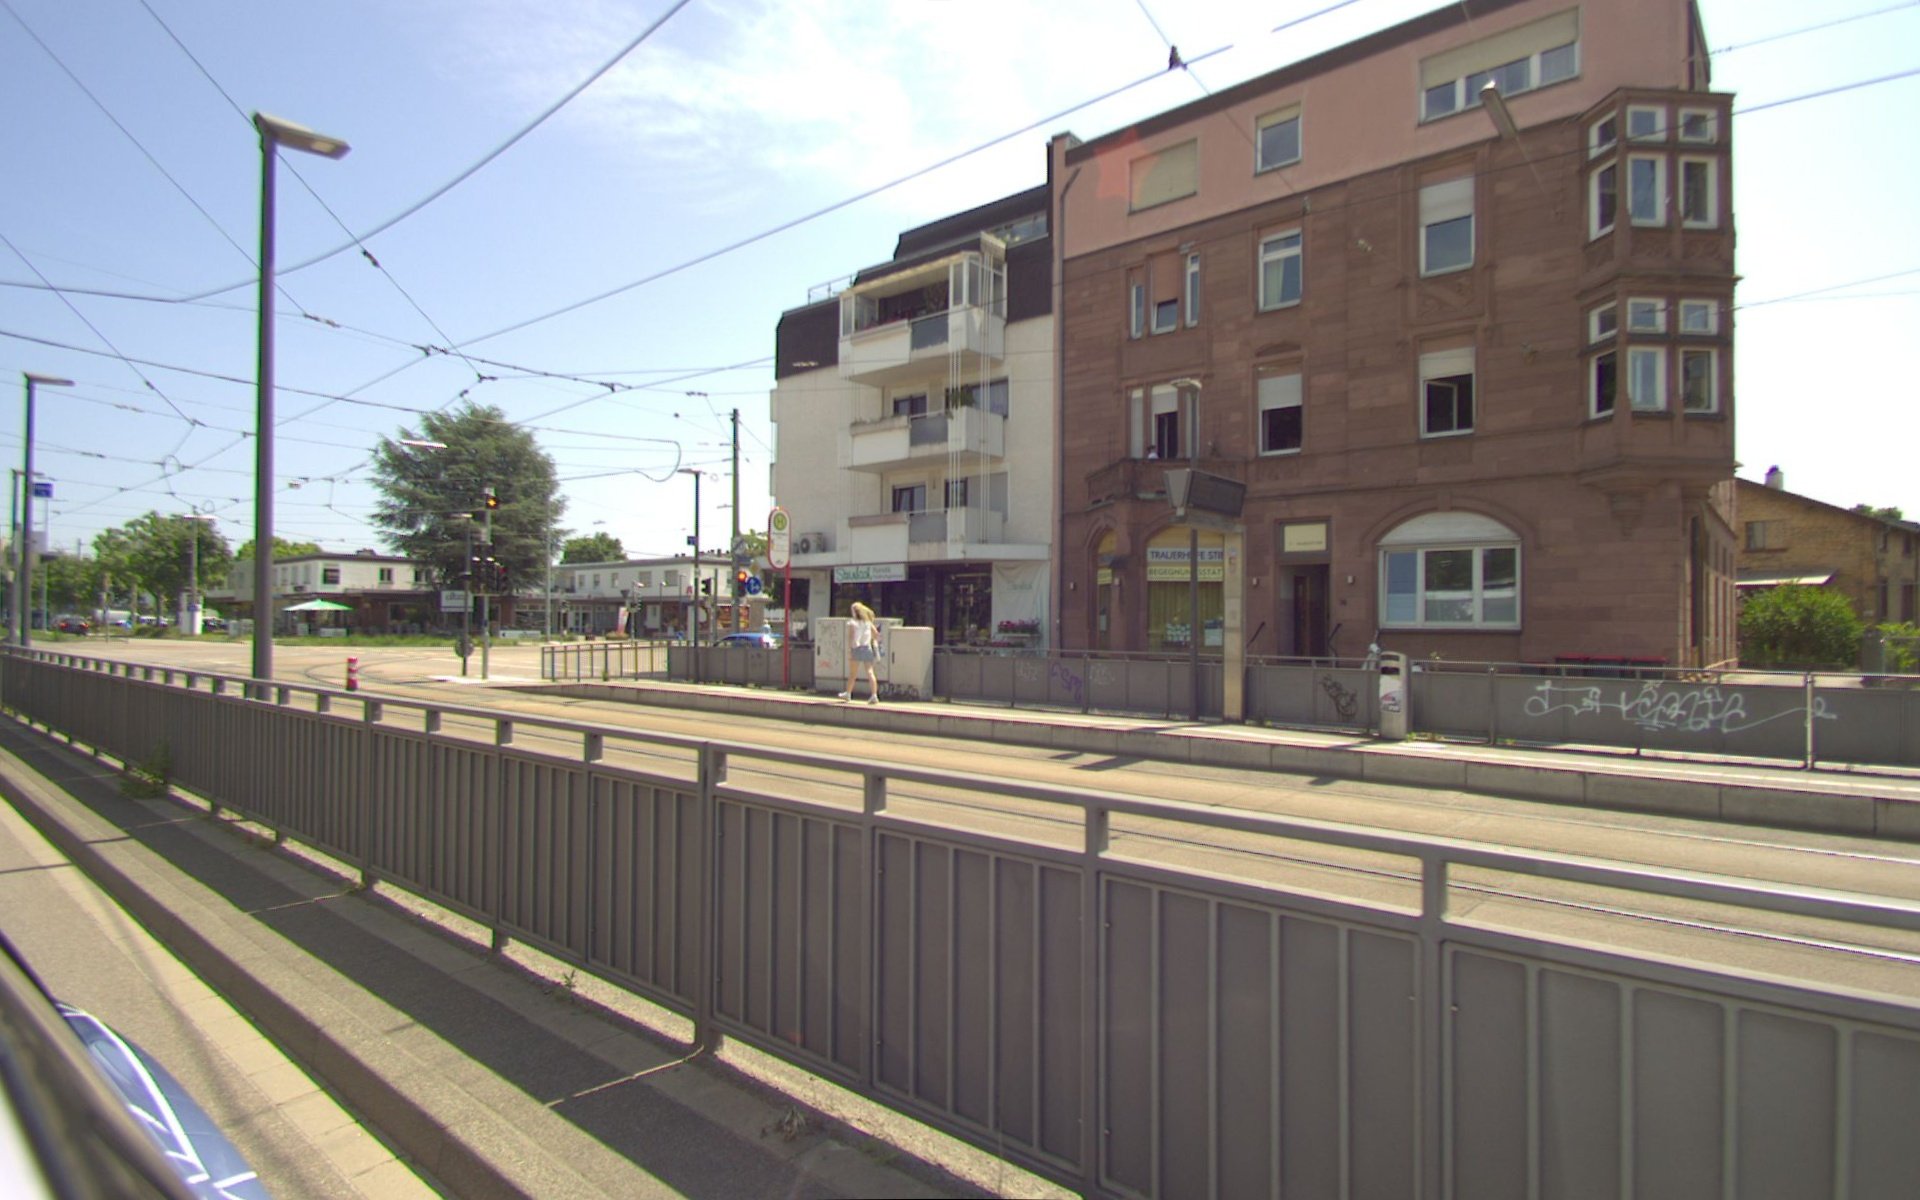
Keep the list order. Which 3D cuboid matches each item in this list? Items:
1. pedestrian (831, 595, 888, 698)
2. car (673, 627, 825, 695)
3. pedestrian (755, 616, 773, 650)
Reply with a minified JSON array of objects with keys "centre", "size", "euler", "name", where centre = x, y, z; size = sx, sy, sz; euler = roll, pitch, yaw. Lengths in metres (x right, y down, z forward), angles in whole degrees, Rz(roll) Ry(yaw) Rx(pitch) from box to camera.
[{"centre":[-1.647,0.756,16.519],"size":[0.676,1.637,0.590],"euler":[-1,-3,41],"name":"pedestrian"},{"centre":[-5.304,1.457,25.176],"size":[3.999,1.497,1.674],"euler":[-1,-1,42],"name":"car"},{"centre":[-9.888,1.669,51.147],"size":[0.646,1.728,0.570],"euler":[-1,-3,41],"name":"pedestrian"}]
